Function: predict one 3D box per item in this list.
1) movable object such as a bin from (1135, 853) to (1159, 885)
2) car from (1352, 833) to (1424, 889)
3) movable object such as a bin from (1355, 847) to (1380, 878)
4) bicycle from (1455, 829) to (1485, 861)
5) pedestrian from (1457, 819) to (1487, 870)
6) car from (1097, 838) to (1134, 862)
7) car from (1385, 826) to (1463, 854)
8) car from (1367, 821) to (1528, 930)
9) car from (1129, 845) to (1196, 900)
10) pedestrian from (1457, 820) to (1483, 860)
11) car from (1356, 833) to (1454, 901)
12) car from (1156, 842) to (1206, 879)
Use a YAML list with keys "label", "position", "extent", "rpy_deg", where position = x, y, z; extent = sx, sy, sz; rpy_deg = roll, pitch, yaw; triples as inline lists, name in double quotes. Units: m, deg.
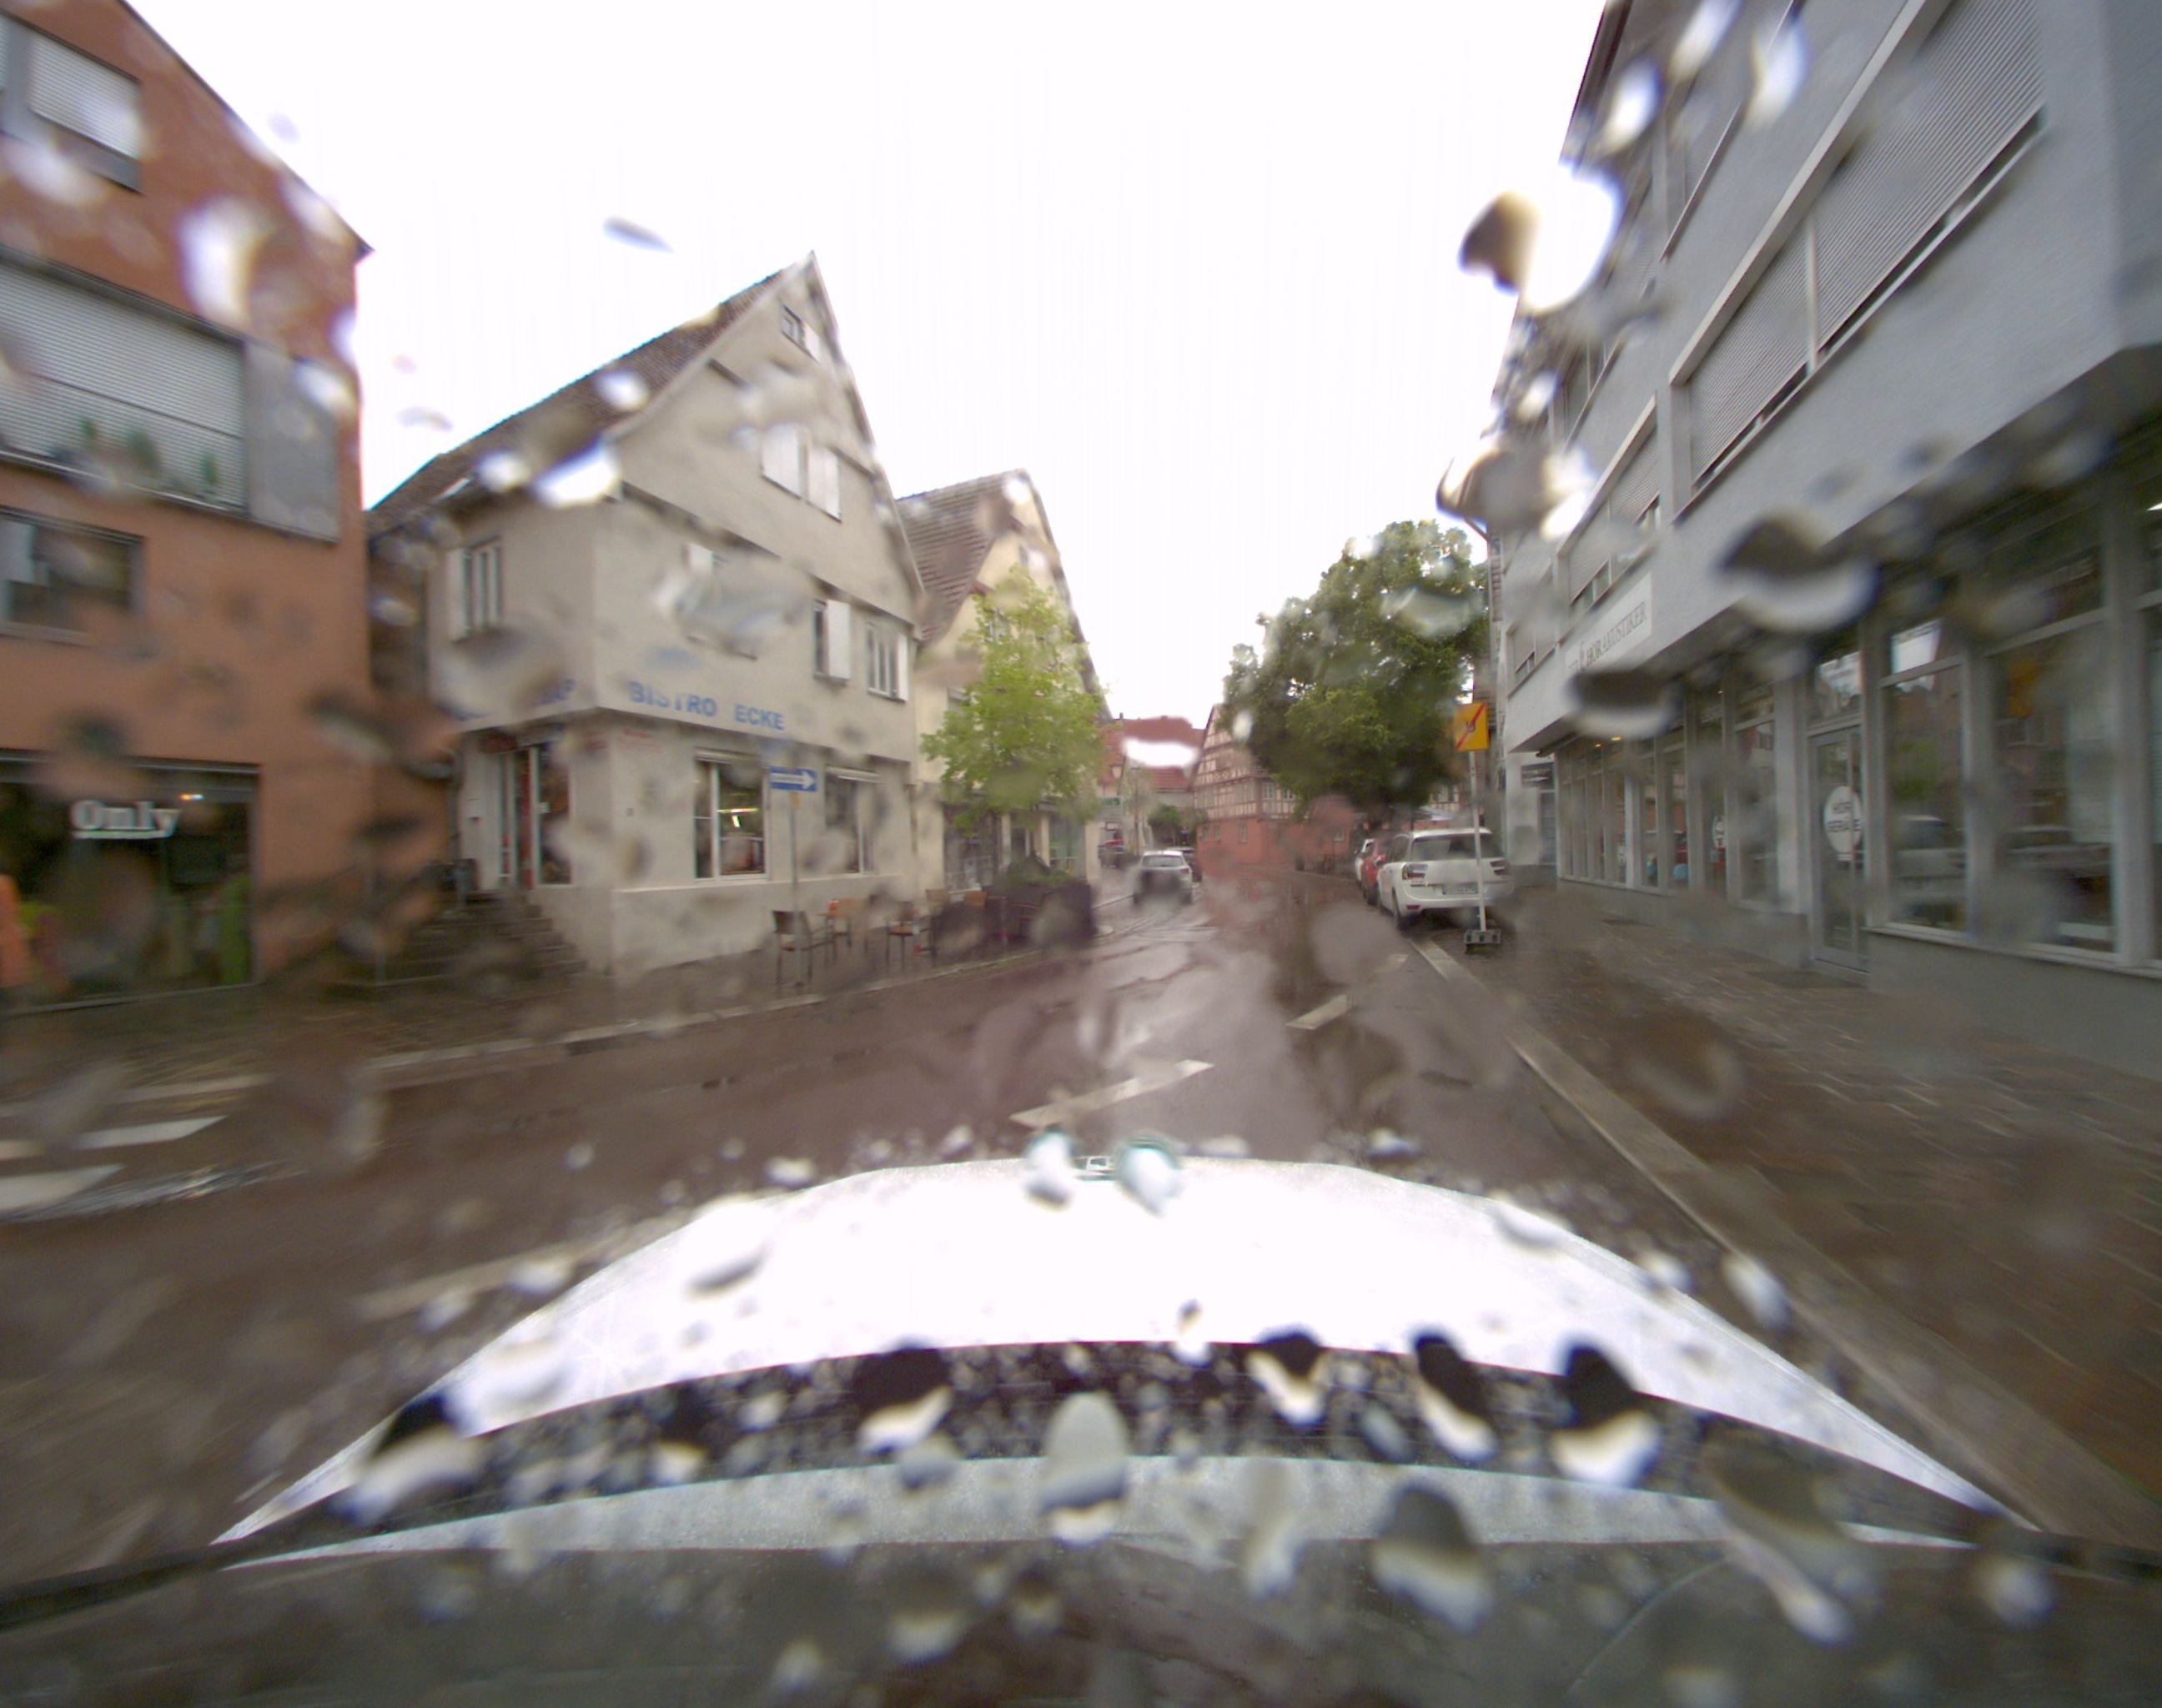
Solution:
- label: "movable object such as a bin"
  position: [2.416, 0.534, 29.762]
  extent: [0.695, 1.122, 0.722]
  rpy_deg: [2, -1, 15]
- label: "car"
  position: [9.530, 0.187, 25.511]
  extent: [1.774, 1.555, 3.967]
  rpy_deg: [-2, 0, 16]
- label: "movable object such as a bin"
  position: [10.235, 0.318, 29.111]
  extent: [0.722, 1.083, 0.606]
  rpy_deg: [-1, -1, 7]
- label: "bicycle"
  position: [17.516, -0.434, 36.631]
  extent: [0.916, 1.350, 2.230]
  rpy_deg: [-3, 0, 32]
- label: "pedestrian"
  position: [13.335, -0.313, 27.767]
  extent: [0.876, 1.713, 0.895]
  rpy_deg: [-1, -1, 28]
- label: "car"
  position: [2.726, -0.371, 64.580]
  extent: [1.896, 1.811, 3.982]
  rpy_deg: [1, 1, -13]
- label: "car"
  position: [22.537, -0.939, 53.541]
  extent: [4.613, 1.633, 1.988]
  rpy_deg: [-3, 2, -18]
- label: "car"
  position: [6.317, 0.365, 14.571]
  extent: [1.775, 1.599, 4.456]
  rpy_deg: [-2, -1, 13]
- label: "car"
  position: [2.550, 0.497, 24.891]
  extent: [1.839, 1.451, 4.082]
  rpy_deg: [-1, 2, 7]
- label: "pedestrian"
  position: [17.491, -0.622, 36.618]
  extent: [0.901, 1.698, 0.867]
  rpy_deg: [-3, -1, 31]
- label: "car"
  position: [7.747, 0.328, 19.792]
  extent: [1.774, 1.468, 3.965]
  rpy_deg: [-1, -1, 15]
- label: "car"
  position: [4.357, 0.311, 36.085]
  extent: [1.868, 1.540, 4.402]
  rpy_deg: [-1, -1, 2]
